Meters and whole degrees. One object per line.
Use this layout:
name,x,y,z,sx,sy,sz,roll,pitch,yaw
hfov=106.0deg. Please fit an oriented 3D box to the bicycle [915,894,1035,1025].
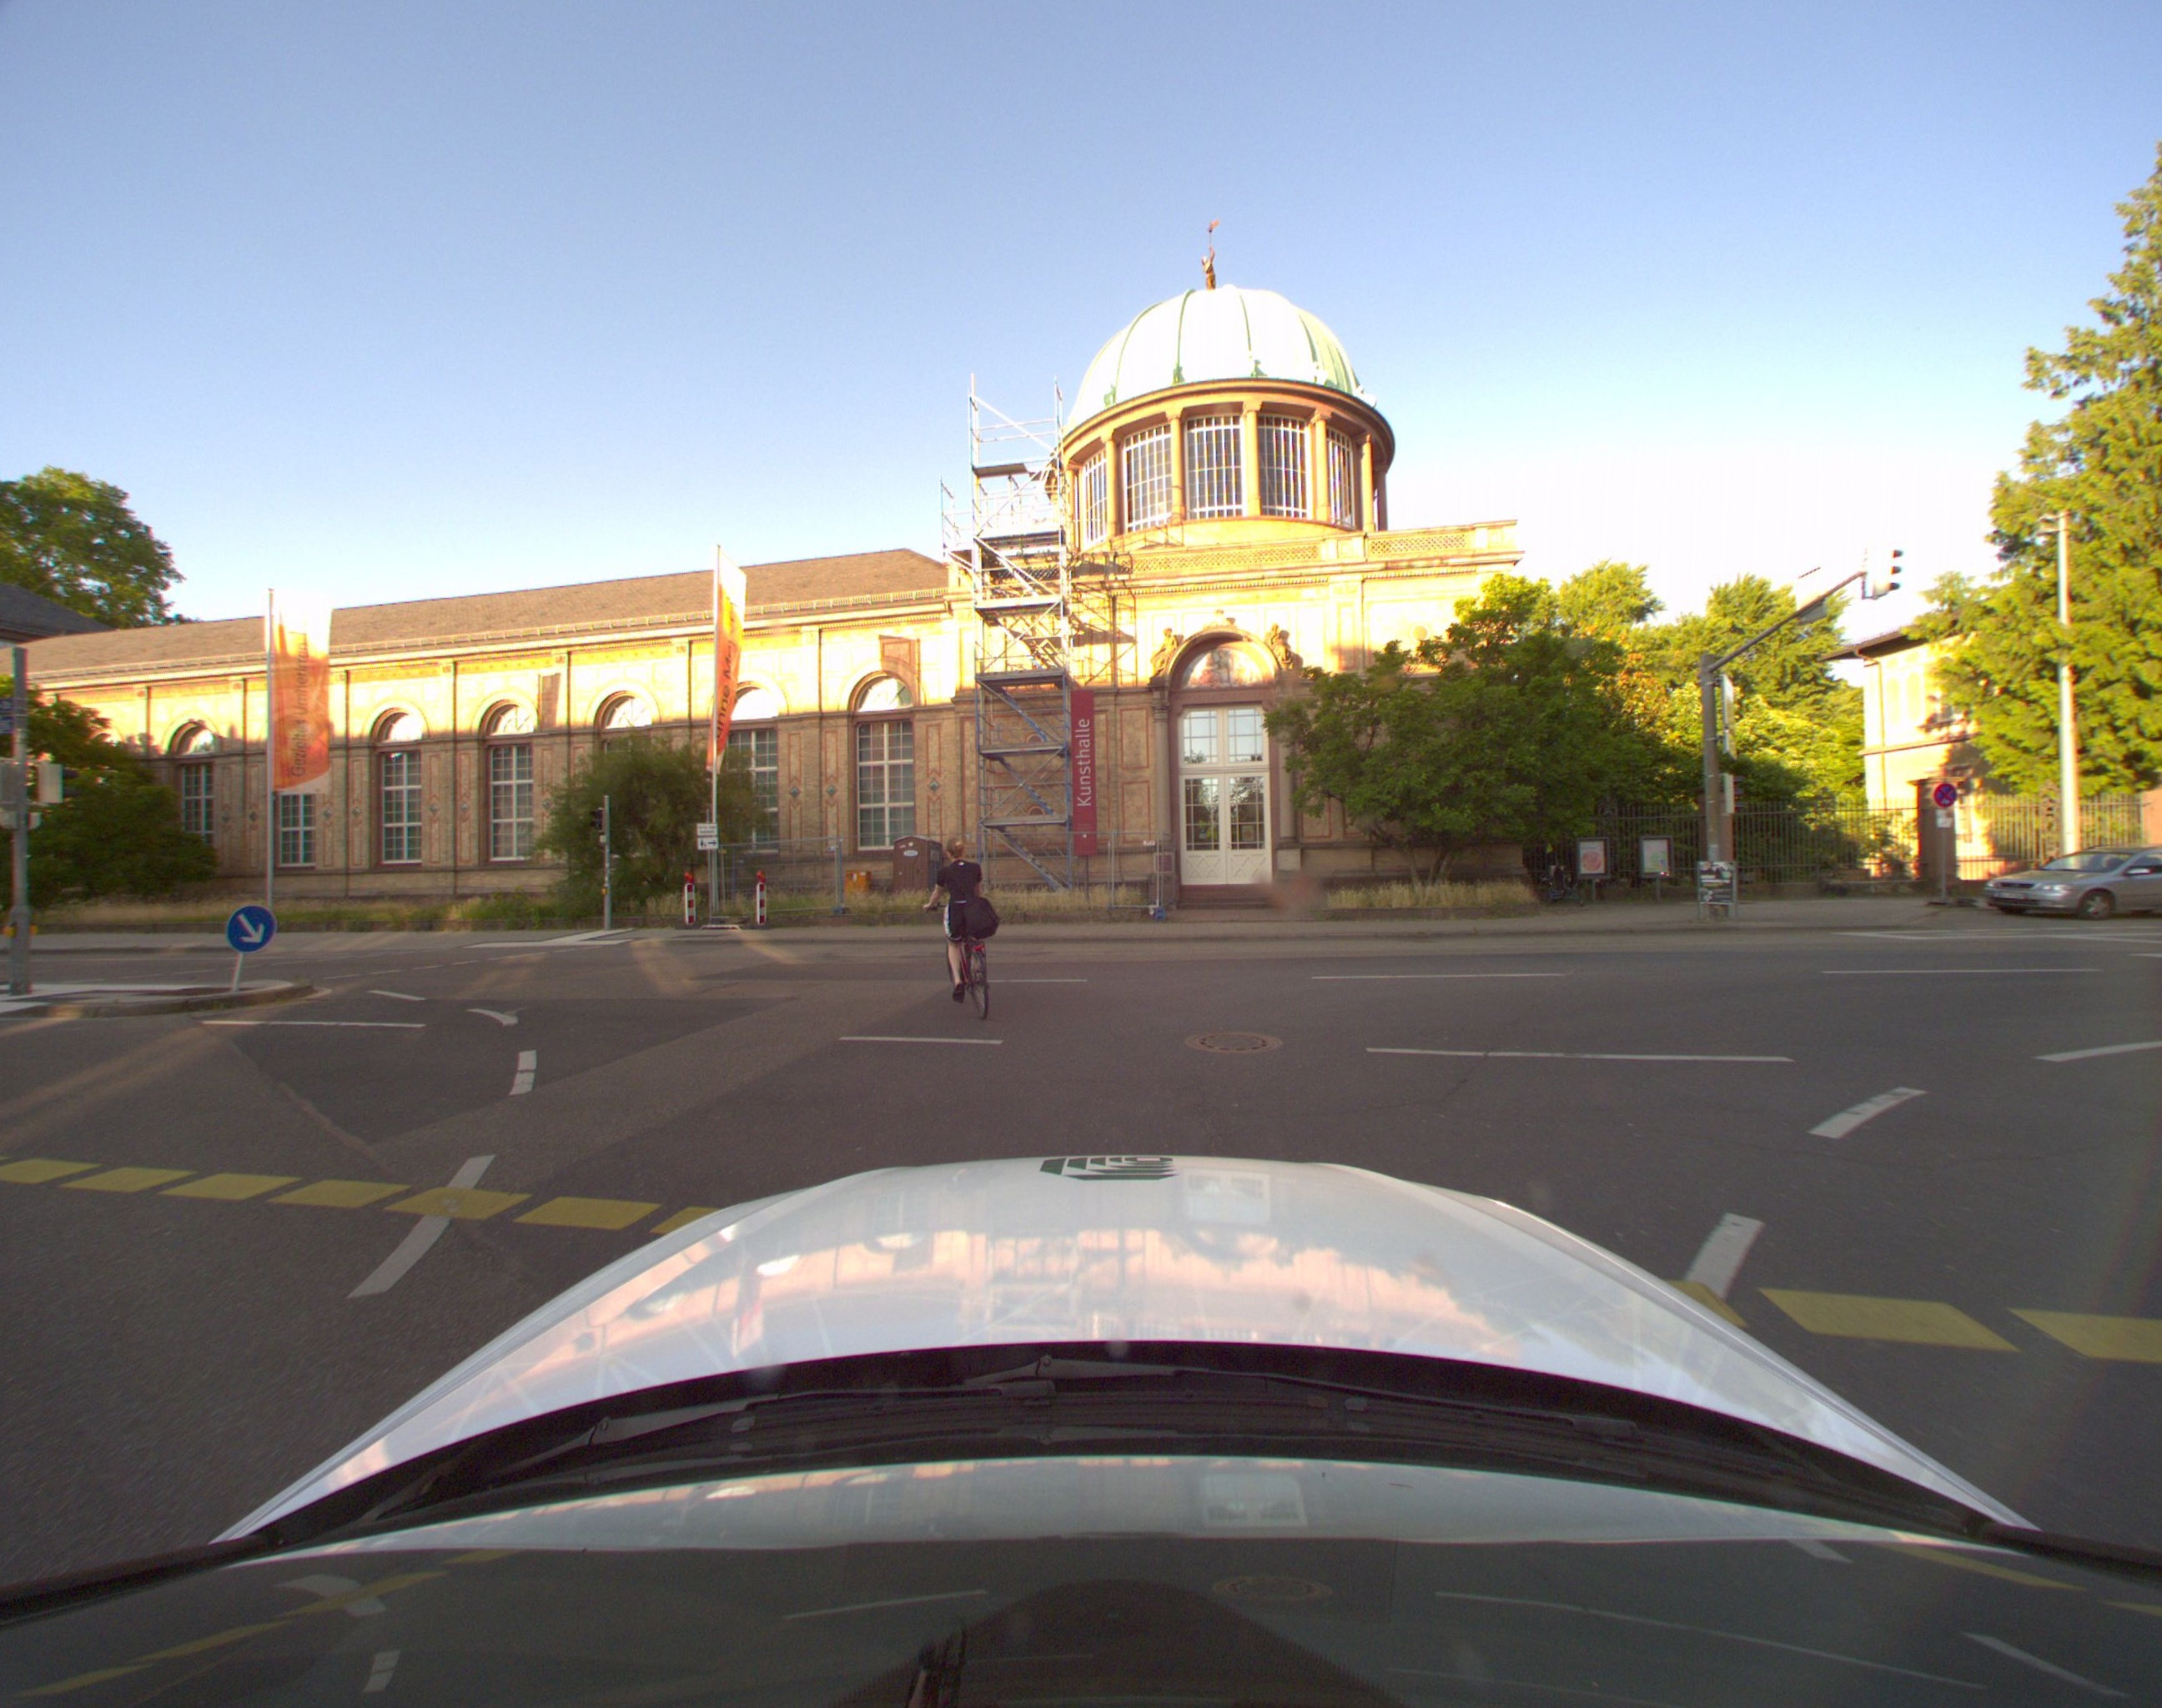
bicycle,-1.158,1.002,8.418,0.714,1.156,2.053,0,-3,-22

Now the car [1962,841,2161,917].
car,21.491,0.489,16.987,4.166,1.445,1.717,-1,-1,4

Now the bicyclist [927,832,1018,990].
bicyclist,-1.123,0.561,8.318,0.719,1.503,0.844,0,-3,-22
